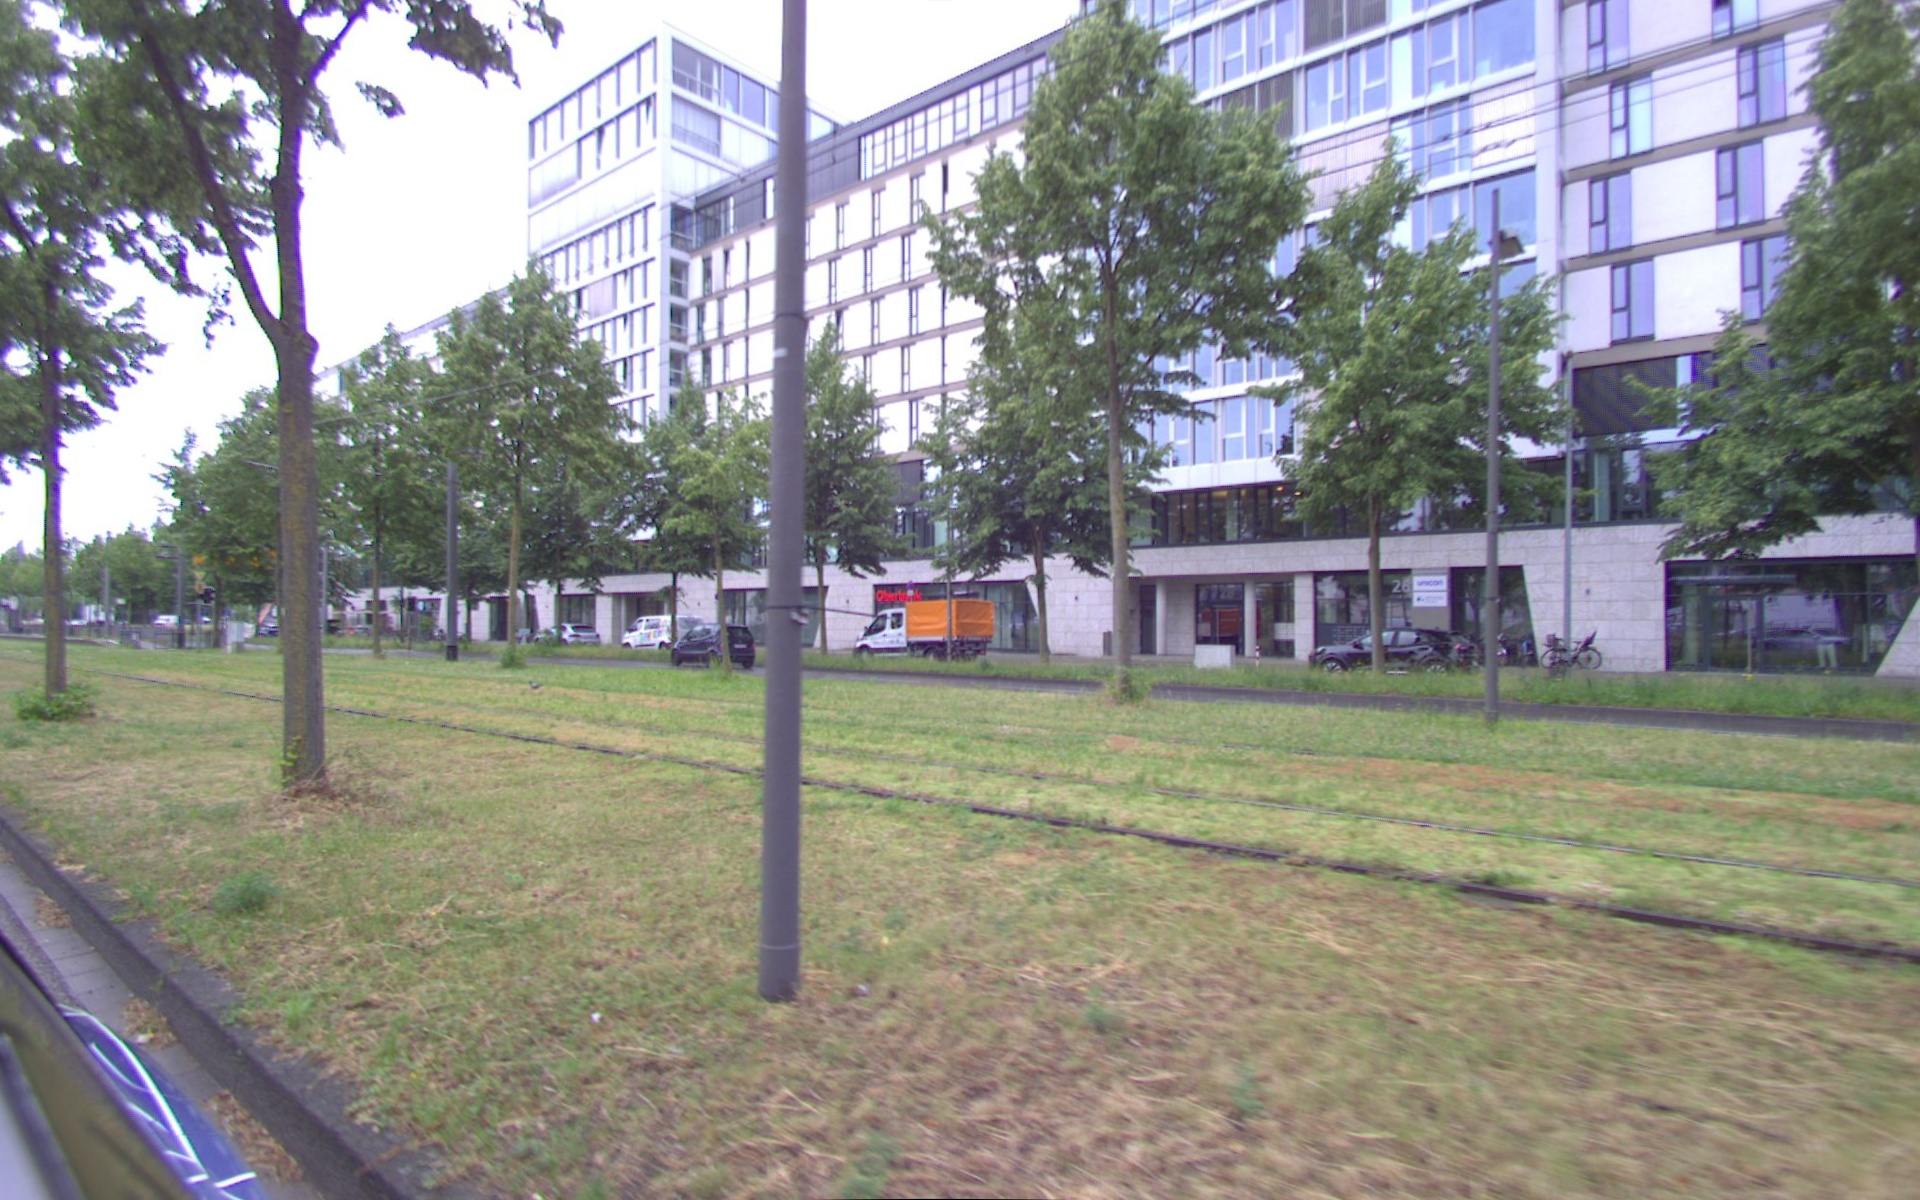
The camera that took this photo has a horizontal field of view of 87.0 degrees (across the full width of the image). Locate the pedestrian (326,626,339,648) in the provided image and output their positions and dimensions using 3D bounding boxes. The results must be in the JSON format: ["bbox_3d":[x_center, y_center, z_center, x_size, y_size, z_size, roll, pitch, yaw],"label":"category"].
[{"bbox_3d":[-49.495,2.919,79.849,0.793,1.704,0.703,-2,-2,43],"label":"pedestrian"}]

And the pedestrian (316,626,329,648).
[{"bbox_3d":[-49.868,2.869,79.151,0.793,1.704,0.703,-2,-2,43],"label":"pedestrian"}]

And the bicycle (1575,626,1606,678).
[{"bbox_3d":[19.783,1.612,31.754,0.606,1.550,1.552,-1,-1,39],"label":"bicycle"}]

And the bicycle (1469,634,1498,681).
[{"bbox_3d":[17.382,1.890,33.588,0.546,1.494,1.418,-1,-1,39],"label":"bicycle"}]

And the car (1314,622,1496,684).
[{"bbox_3d":[11.504,1.324,26.300,3.985,1.476,1.836,-1,-2,40],"label":"car"}]

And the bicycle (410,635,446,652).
[{"bbox_3d":[-34.515,2.805,65.702,0.696,1.042,1.957,-1,-2,41],"label":"bicycle"}]

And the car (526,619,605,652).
[{"bbox_3d":[-21.297,1.879,54.583,4.460,1.725,2.123,-1,-1,40],"label":"car"}]

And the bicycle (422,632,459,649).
[{"bbox_3d":[-33.114,2.590,64.503,0.696,1.042,1.957,-1,-2,41],"label":"bicycle"}]

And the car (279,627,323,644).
[{"bbox_3d":[-52.555,2.818,80.638,4.069,1.298,1.972,-1,-1,42],"label":"car"}]

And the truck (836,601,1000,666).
[{"bbox_3d":[-1.694,1.251,38.640,6.304,2.309,2.402,-1,-2,40],"label":"truck"}]

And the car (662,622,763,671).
[{"bbox_3d":[-8.970,1.647,36.603,1.970,1.669,3.702,1,-2,-44],"label":"car"}]

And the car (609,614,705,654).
[{"bbox_3d":[-14.772,1.613,49.164,5.160,1.866,1.973,-1,-2,40],"label":"car"}]

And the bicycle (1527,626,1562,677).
[{"bbox_3d":[18.695,1.633,32.340,0.680,1.550,1.686,-1,-1,39],"label":"bicycle"}]

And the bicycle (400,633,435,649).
[{"bbox_3d":[-36.358,2.719,67.850,0.696,1.042,1.957,-1,-2,41],"label":"bicycle"}]

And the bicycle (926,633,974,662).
[{"bbox_3d":[-0.348,1.596,34.420,1.757,0.952,0.592,-1,-2,44],"label":"bicycle"}]
